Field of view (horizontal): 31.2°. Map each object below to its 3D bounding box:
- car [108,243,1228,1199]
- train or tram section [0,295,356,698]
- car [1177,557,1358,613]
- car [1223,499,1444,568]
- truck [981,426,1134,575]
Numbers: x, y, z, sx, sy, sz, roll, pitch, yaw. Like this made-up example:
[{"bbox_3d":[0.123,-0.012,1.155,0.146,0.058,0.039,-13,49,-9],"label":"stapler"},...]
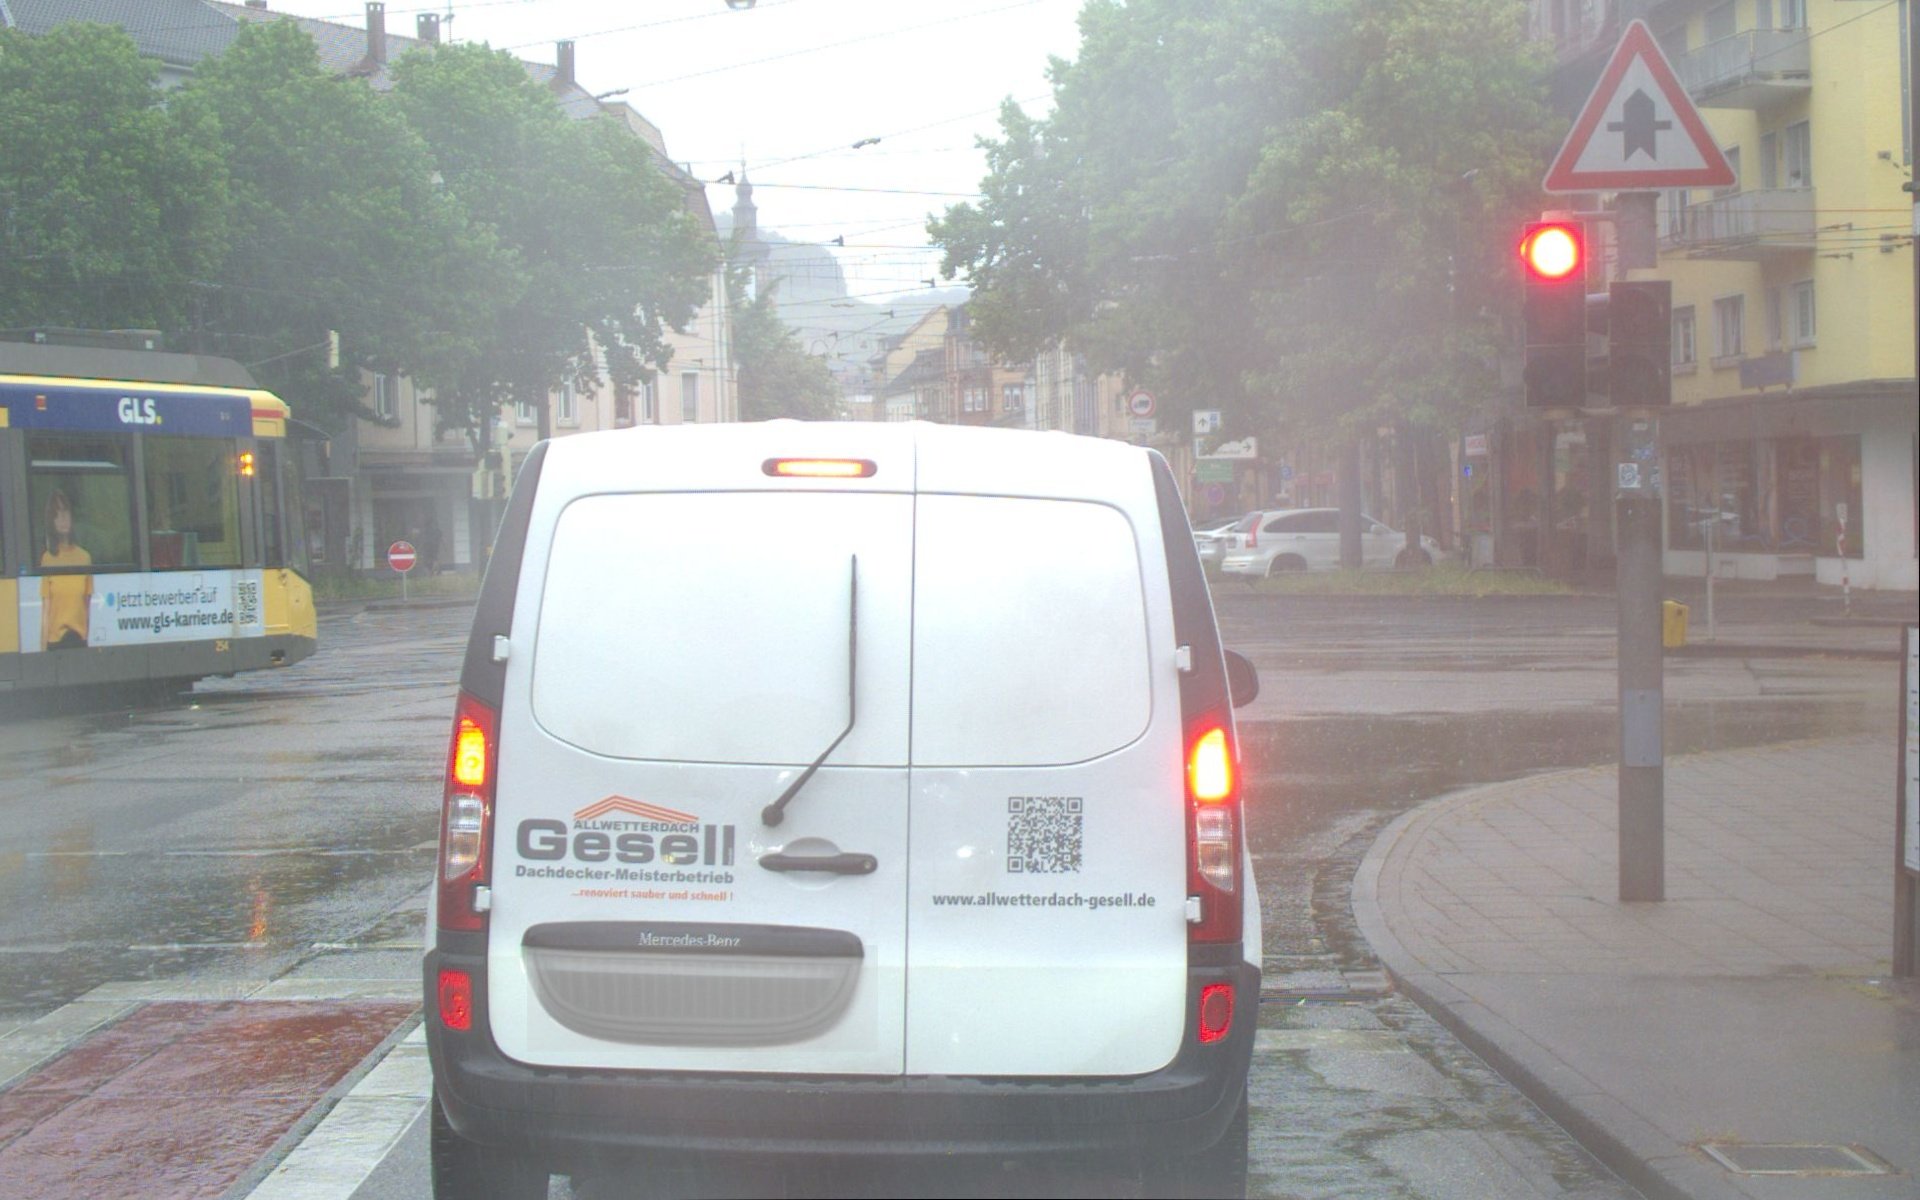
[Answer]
[{"bbox_3d":[-0.577,0.310,8.972,2.100,2.005,4.963,0,1,-1],"label":"car"},{"bbox_3d":[-10.328,-0.899,28.007,3.544,3.401,15.490,1,1,19],"label":"train or tram section"},{"bbox_3d":[6.278,-0.315,70.407,3.441,1.126,1.472,0,1,-8],"label":"car"},{"bbox_3d":[7.480,-1.345,68.956,4.165,1.334,1.521,-1,2,-7],"label":"car"},{"bbox_3d":[3.395,-3.529,125.504,3.469,5.070,15.310,0,1,-6],"label":"truck"}]
